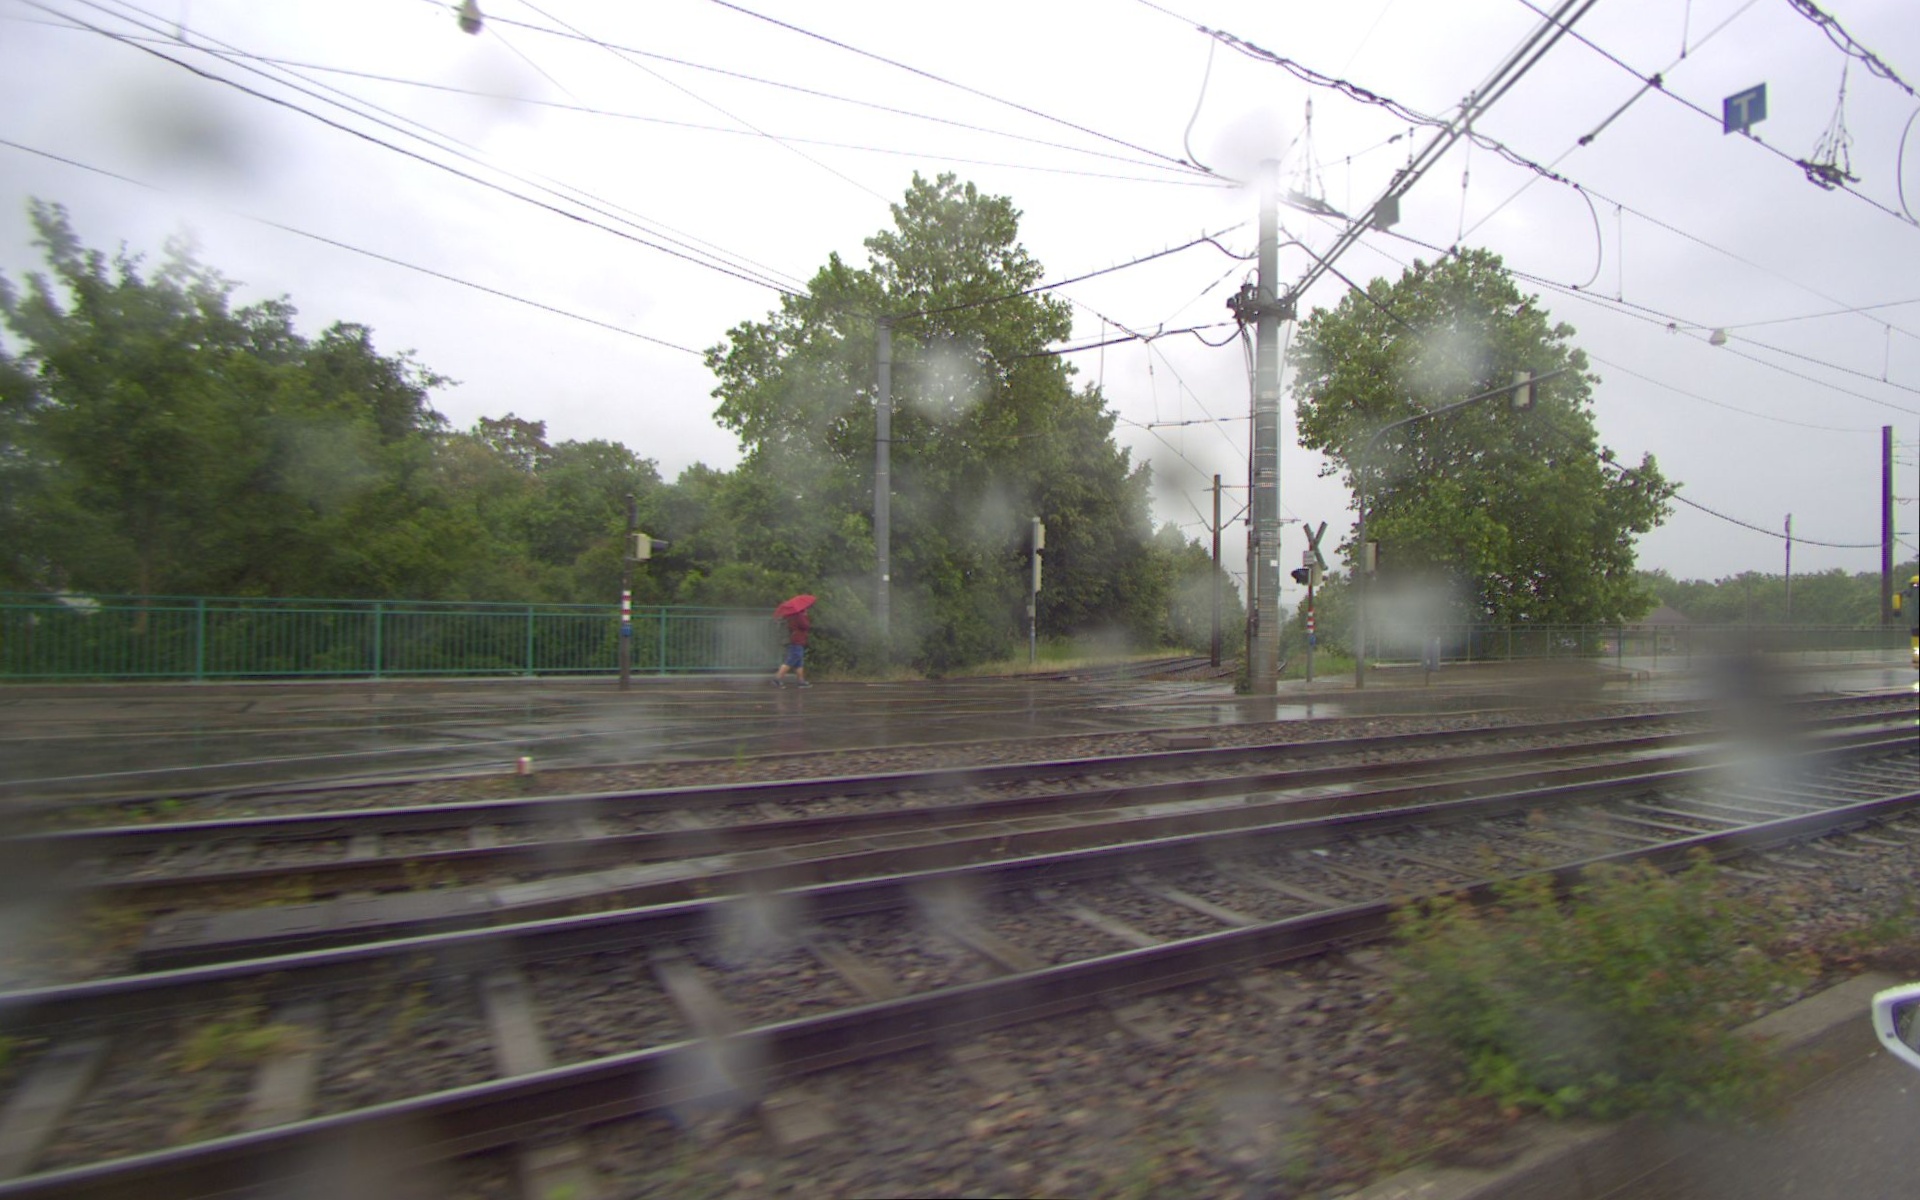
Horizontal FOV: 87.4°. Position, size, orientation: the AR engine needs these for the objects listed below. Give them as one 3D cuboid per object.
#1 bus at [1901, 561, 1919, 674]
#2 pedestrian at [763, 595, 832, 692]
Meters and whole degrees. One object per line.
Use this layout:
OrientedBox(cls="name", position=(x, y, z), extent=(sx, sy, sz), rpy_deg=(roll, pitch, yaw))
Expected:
OrientedBox(cls="bus", position=(34.108, 0.490, 32.212), extent=(10.863, 3.385, 2.696), rpy_deg=(0, -2, -30))
OrientedBox(cls="pedestrian", position=(-3.193, 0.847, 19.728), extent=(1.031, 1.843, 0.860), rpy_deg=(3, 0, -32))
